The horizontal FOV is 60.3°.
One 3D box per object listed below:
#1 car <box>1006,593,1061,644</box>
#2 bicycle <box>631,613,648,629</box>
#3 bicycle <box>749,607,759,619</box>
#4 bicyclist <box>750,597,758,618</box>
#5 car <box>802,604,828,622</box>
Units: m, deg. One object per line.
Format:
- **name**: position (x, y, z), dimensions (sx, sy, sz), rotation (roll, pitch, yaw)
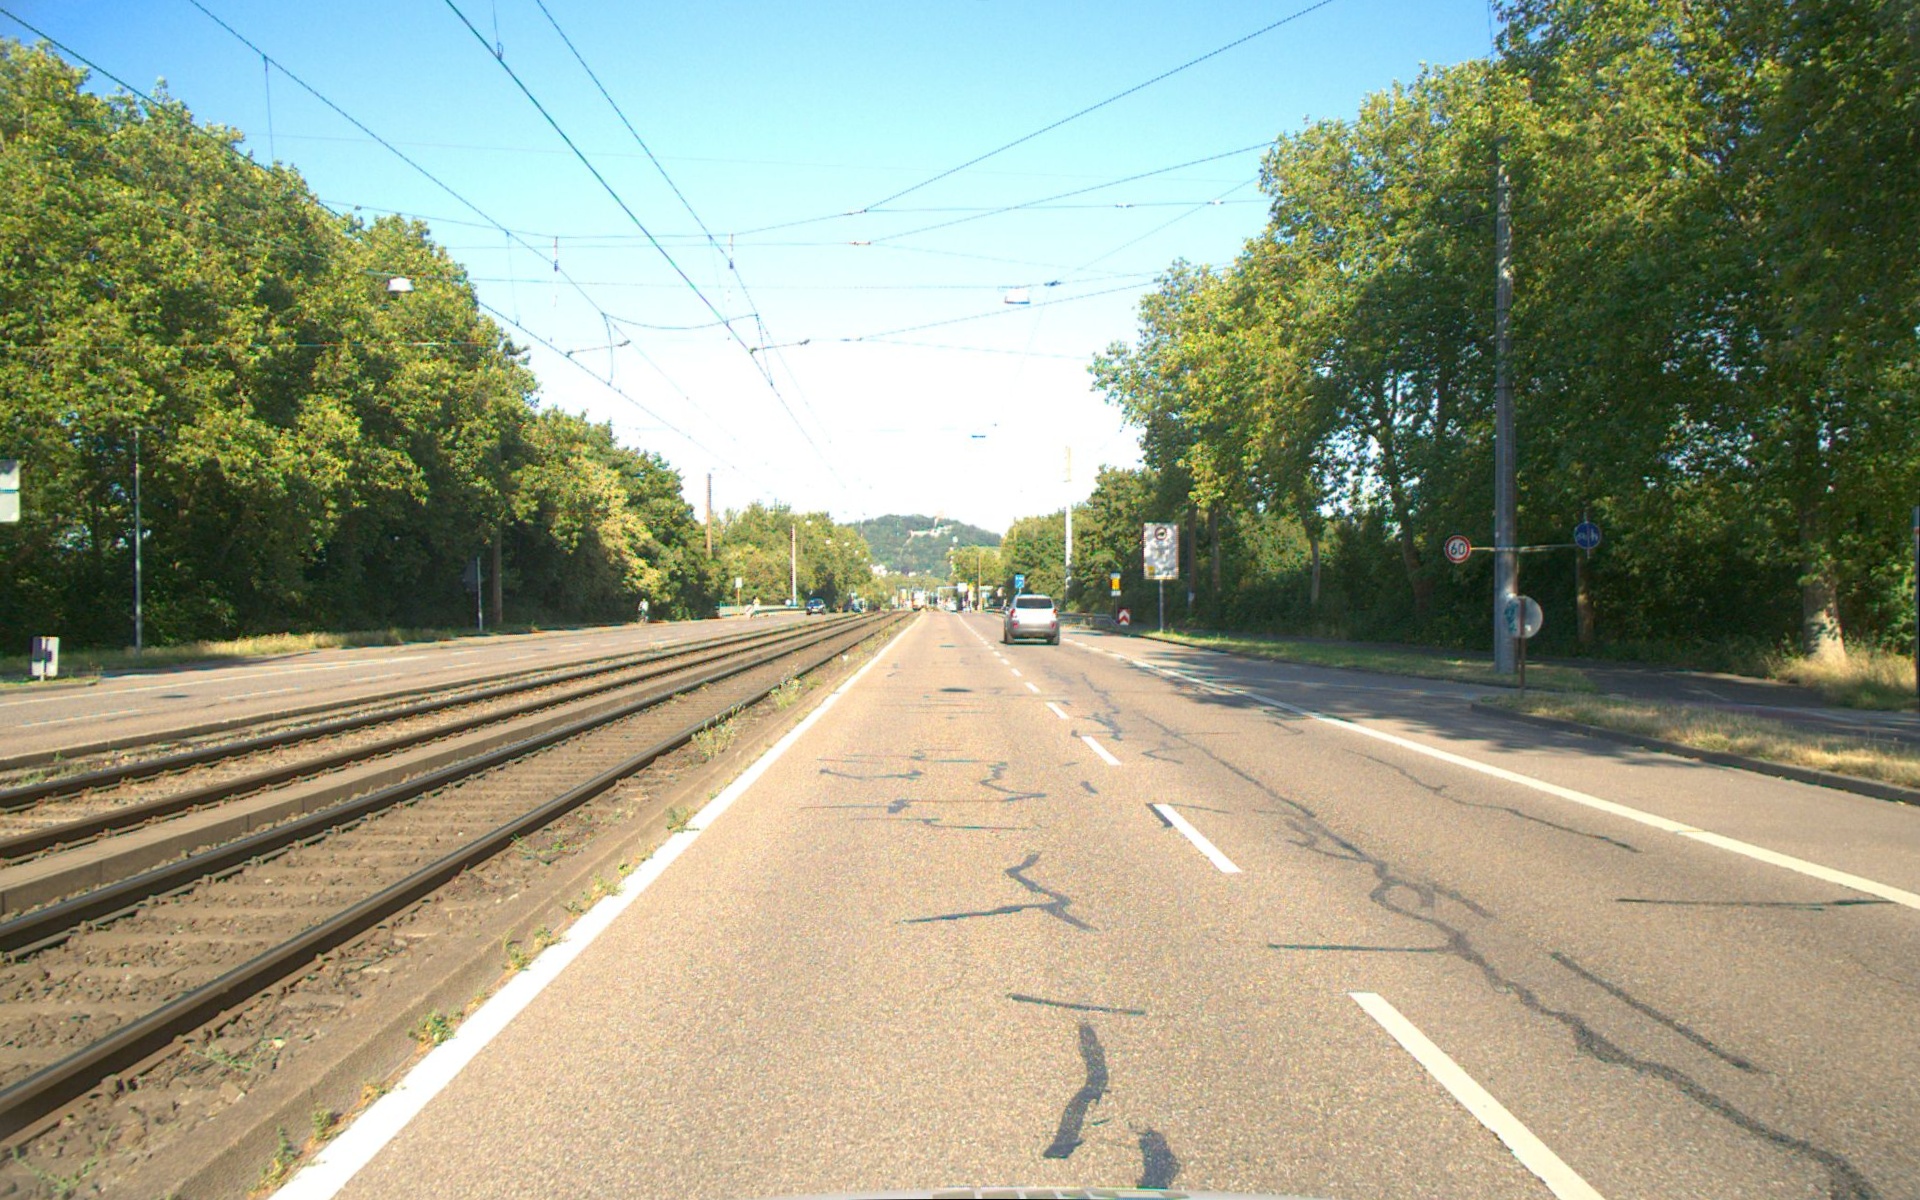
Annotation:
- **car**: position (2.547, 0.624, 58.044), dimensions (1.849, 1.723, 4.257), rotation (0, 0, 2)
- **bicycle**: position (-20.314, 1.320, 104.842), dimensions (0.539, 1.003, 2.239), rotation (2, 0, 1)
- **bicycle**: position (-17.094, 1.082, 137.315), dimensions (0.497, 0.908, 2.028), rotation (2, 0, 2)
- **bicyclist**: position (-17.088, 0.591, 137.221), dimensions (0.497, 1.717, 0.919), rotation (1, -1, 2)
- **car**: position (-15.100, 1.345, 172.405), dimensions (1.952, 1.715, 4.797), rotation (-2, 0, 2)
